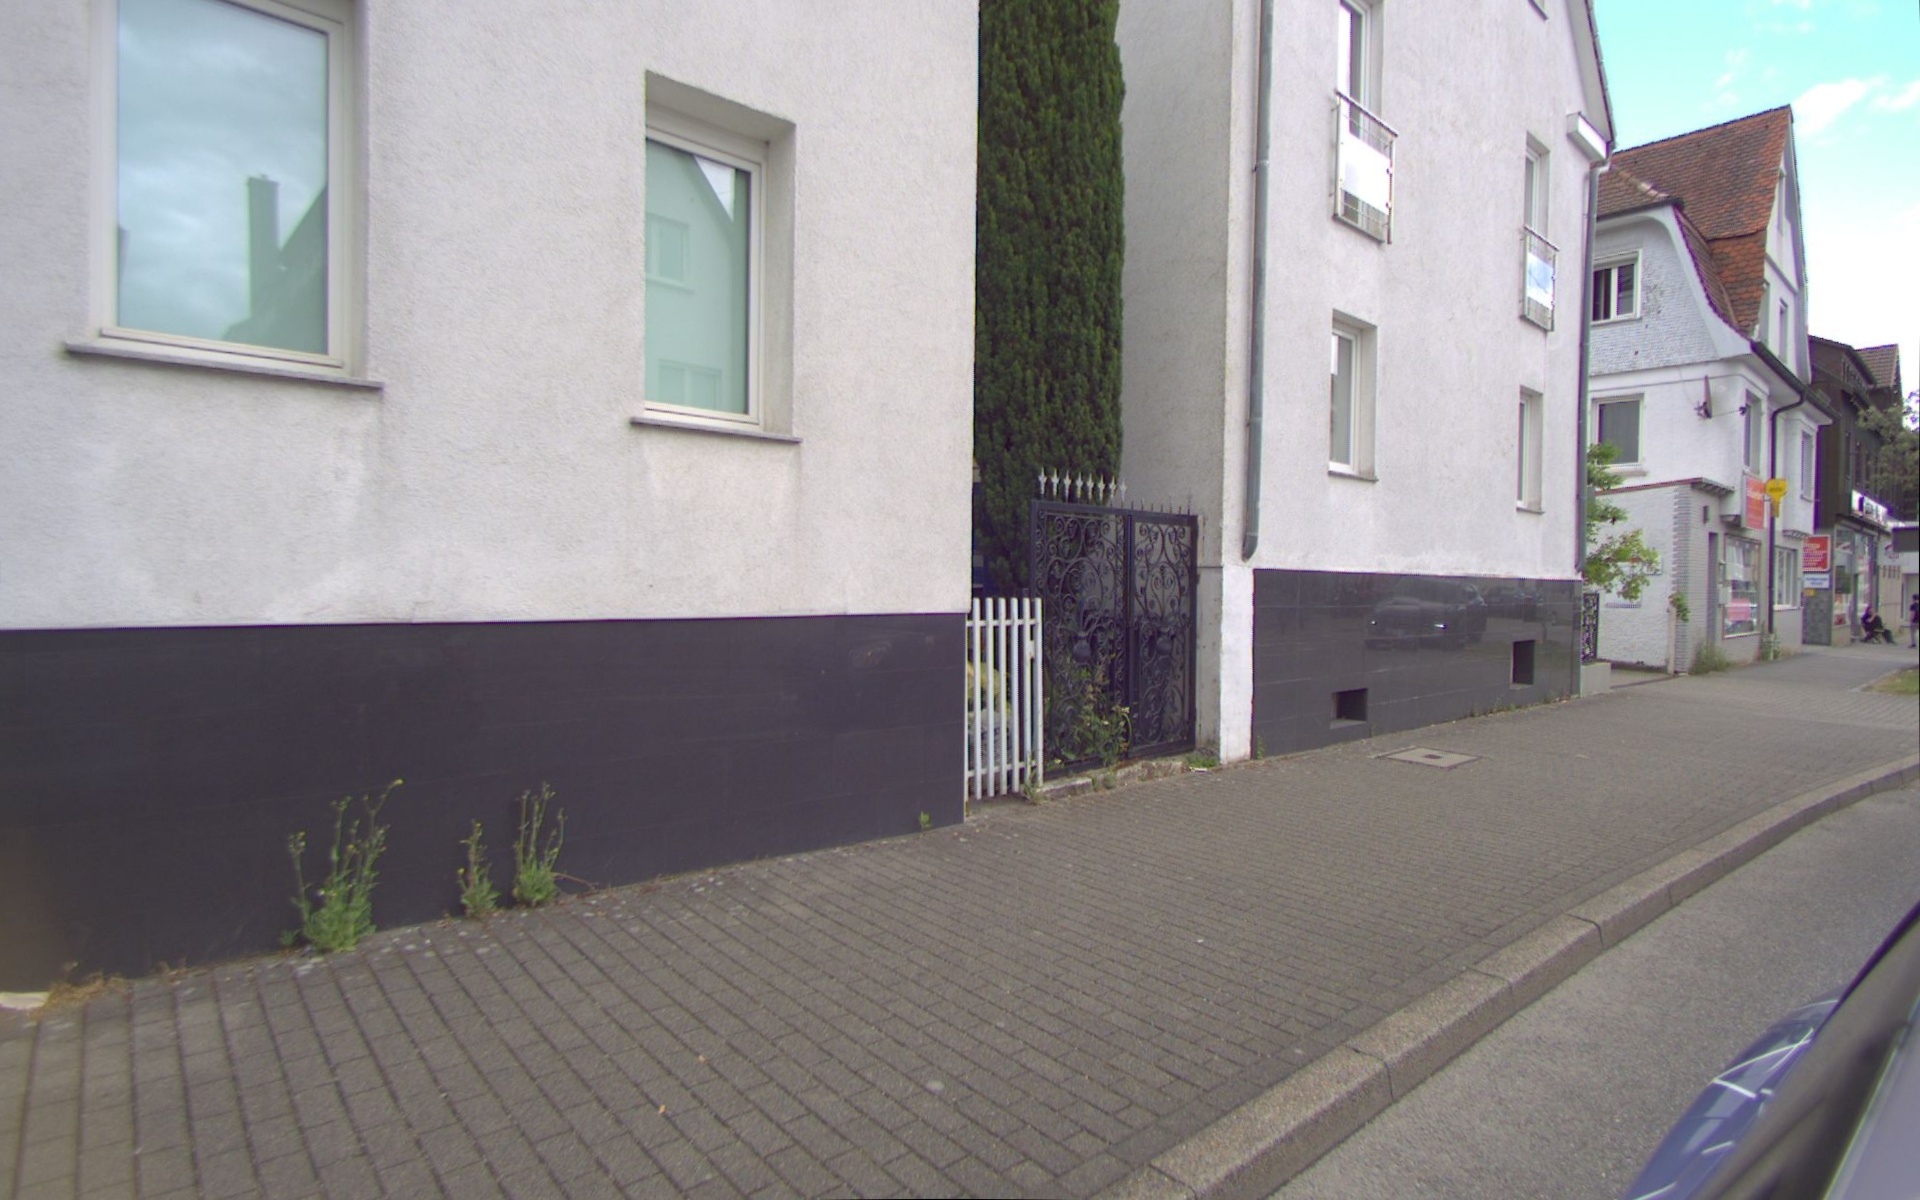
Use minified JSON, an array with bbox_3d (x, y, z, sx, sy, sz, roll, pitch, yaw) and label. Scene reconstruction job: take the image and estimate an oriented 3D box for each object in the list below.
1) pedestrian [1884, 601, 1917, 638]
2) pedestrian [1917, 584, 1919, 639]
[{"bbox_3d":[32.091,0.661,34.526,0.633,1.226,0.741,0,2,-42],"label":"pedestrian"},{"bbox_3d":[31.330,0.382,32.613,0.642,1.762,0.731,3,2,43],"label":"pedestrian"}]
